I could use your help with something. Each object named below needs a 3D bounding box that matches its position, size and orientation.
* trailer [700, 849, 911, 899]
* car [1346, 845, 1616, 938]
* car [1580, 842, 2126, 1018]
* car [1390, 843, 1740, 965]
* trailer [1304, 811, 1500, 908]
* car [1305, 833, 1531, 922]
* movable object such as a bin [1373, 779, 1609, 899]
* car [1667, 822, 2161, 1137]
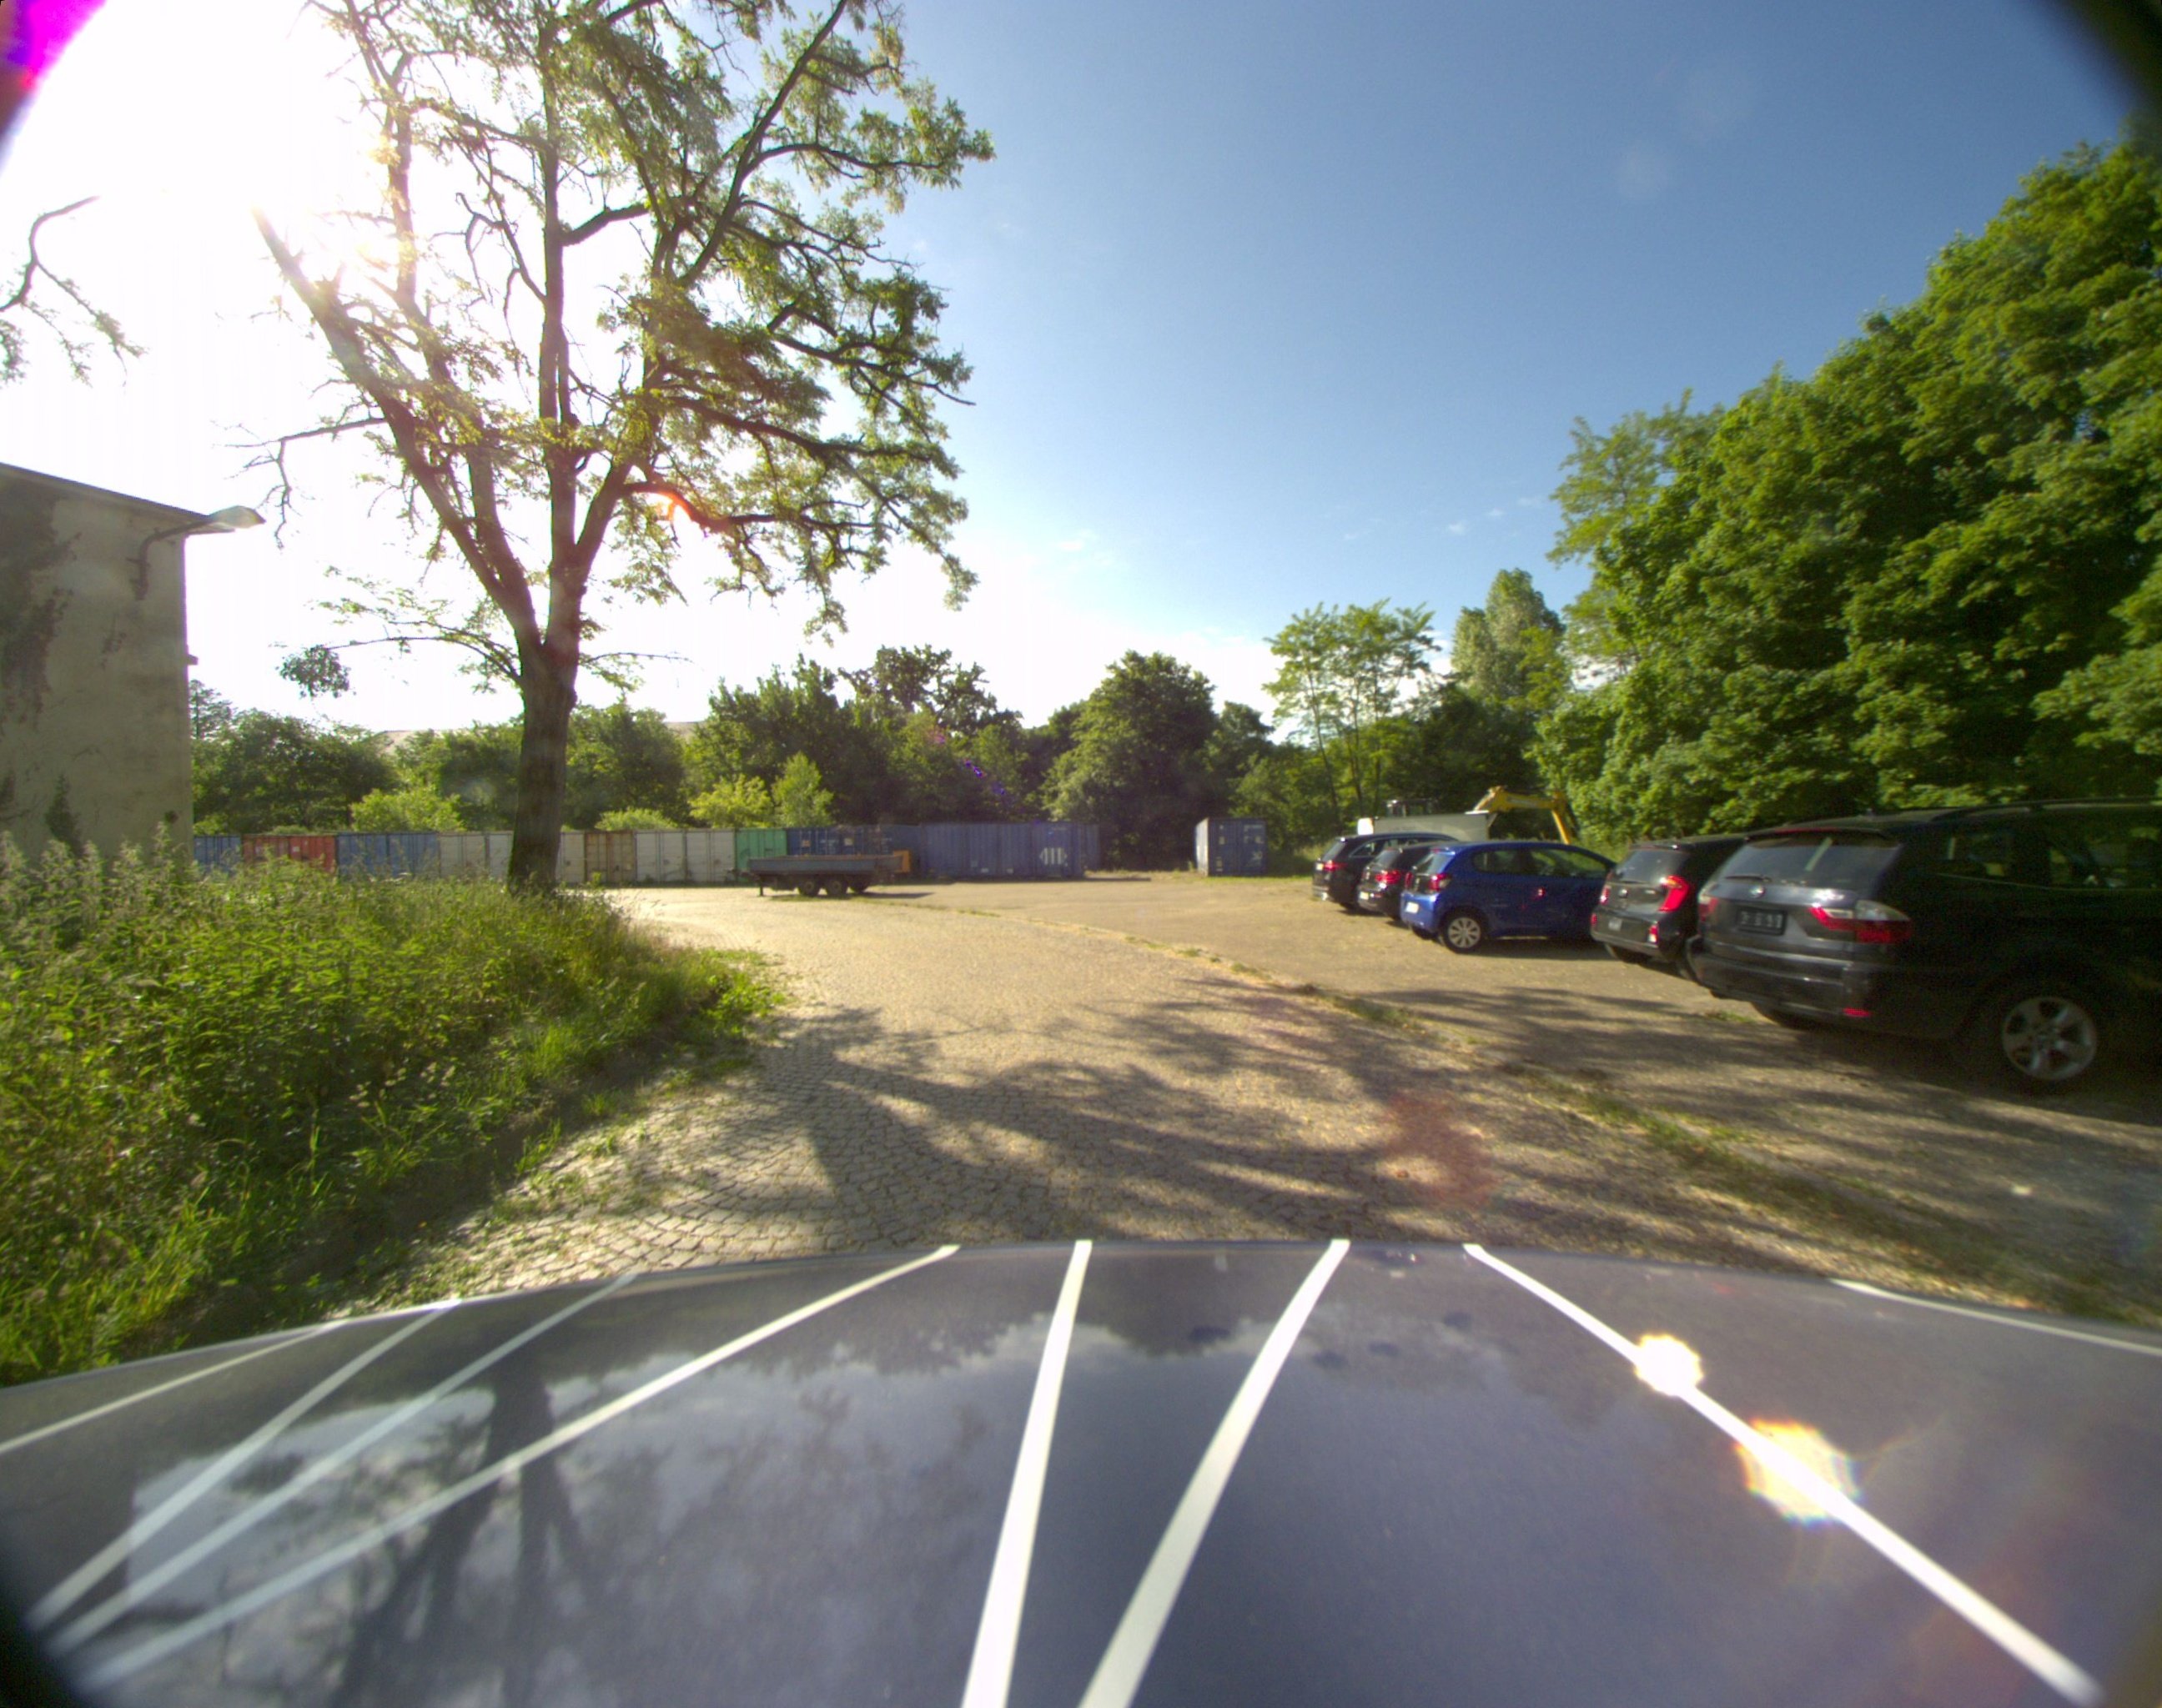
[{"bbox_3d":[-9.781,0.685,27.368,6.485,1.509,2.856,-1,2,6],"label":"trailer"},{"bbox_3d":[6.639,0.593,12.982,3.659,1.443,1.835,-1,1,6],"label":"car"},{"bbox_3d":[7.383,0.666,7.685,3.545,1.507,1.680,-1,1,11],"label":"car"},{"bbox_3d":[6.356,0.628,10.376,3.658,1.484,1.715,-1,1,9],"label":"car"},{"bbox_3d":[7.581,0.134,18.259,3.968,2.082,1.640,-2,1,7],"label":"trailer"},{"bbox_3d":[6.667,0.456,15.432,3.815,1.632,1.869,-1,1,8],"label":"car"},{"bbox_3d":[10.678,-0.356,20.193,5.156,2.949,2.001,-1,1,11],"label":"movable object such as a bin"},{"bbox_3d":[6.624,0.645,4.873,4.185,1.646,1.818,-2,1,5],"label":"car"}]
